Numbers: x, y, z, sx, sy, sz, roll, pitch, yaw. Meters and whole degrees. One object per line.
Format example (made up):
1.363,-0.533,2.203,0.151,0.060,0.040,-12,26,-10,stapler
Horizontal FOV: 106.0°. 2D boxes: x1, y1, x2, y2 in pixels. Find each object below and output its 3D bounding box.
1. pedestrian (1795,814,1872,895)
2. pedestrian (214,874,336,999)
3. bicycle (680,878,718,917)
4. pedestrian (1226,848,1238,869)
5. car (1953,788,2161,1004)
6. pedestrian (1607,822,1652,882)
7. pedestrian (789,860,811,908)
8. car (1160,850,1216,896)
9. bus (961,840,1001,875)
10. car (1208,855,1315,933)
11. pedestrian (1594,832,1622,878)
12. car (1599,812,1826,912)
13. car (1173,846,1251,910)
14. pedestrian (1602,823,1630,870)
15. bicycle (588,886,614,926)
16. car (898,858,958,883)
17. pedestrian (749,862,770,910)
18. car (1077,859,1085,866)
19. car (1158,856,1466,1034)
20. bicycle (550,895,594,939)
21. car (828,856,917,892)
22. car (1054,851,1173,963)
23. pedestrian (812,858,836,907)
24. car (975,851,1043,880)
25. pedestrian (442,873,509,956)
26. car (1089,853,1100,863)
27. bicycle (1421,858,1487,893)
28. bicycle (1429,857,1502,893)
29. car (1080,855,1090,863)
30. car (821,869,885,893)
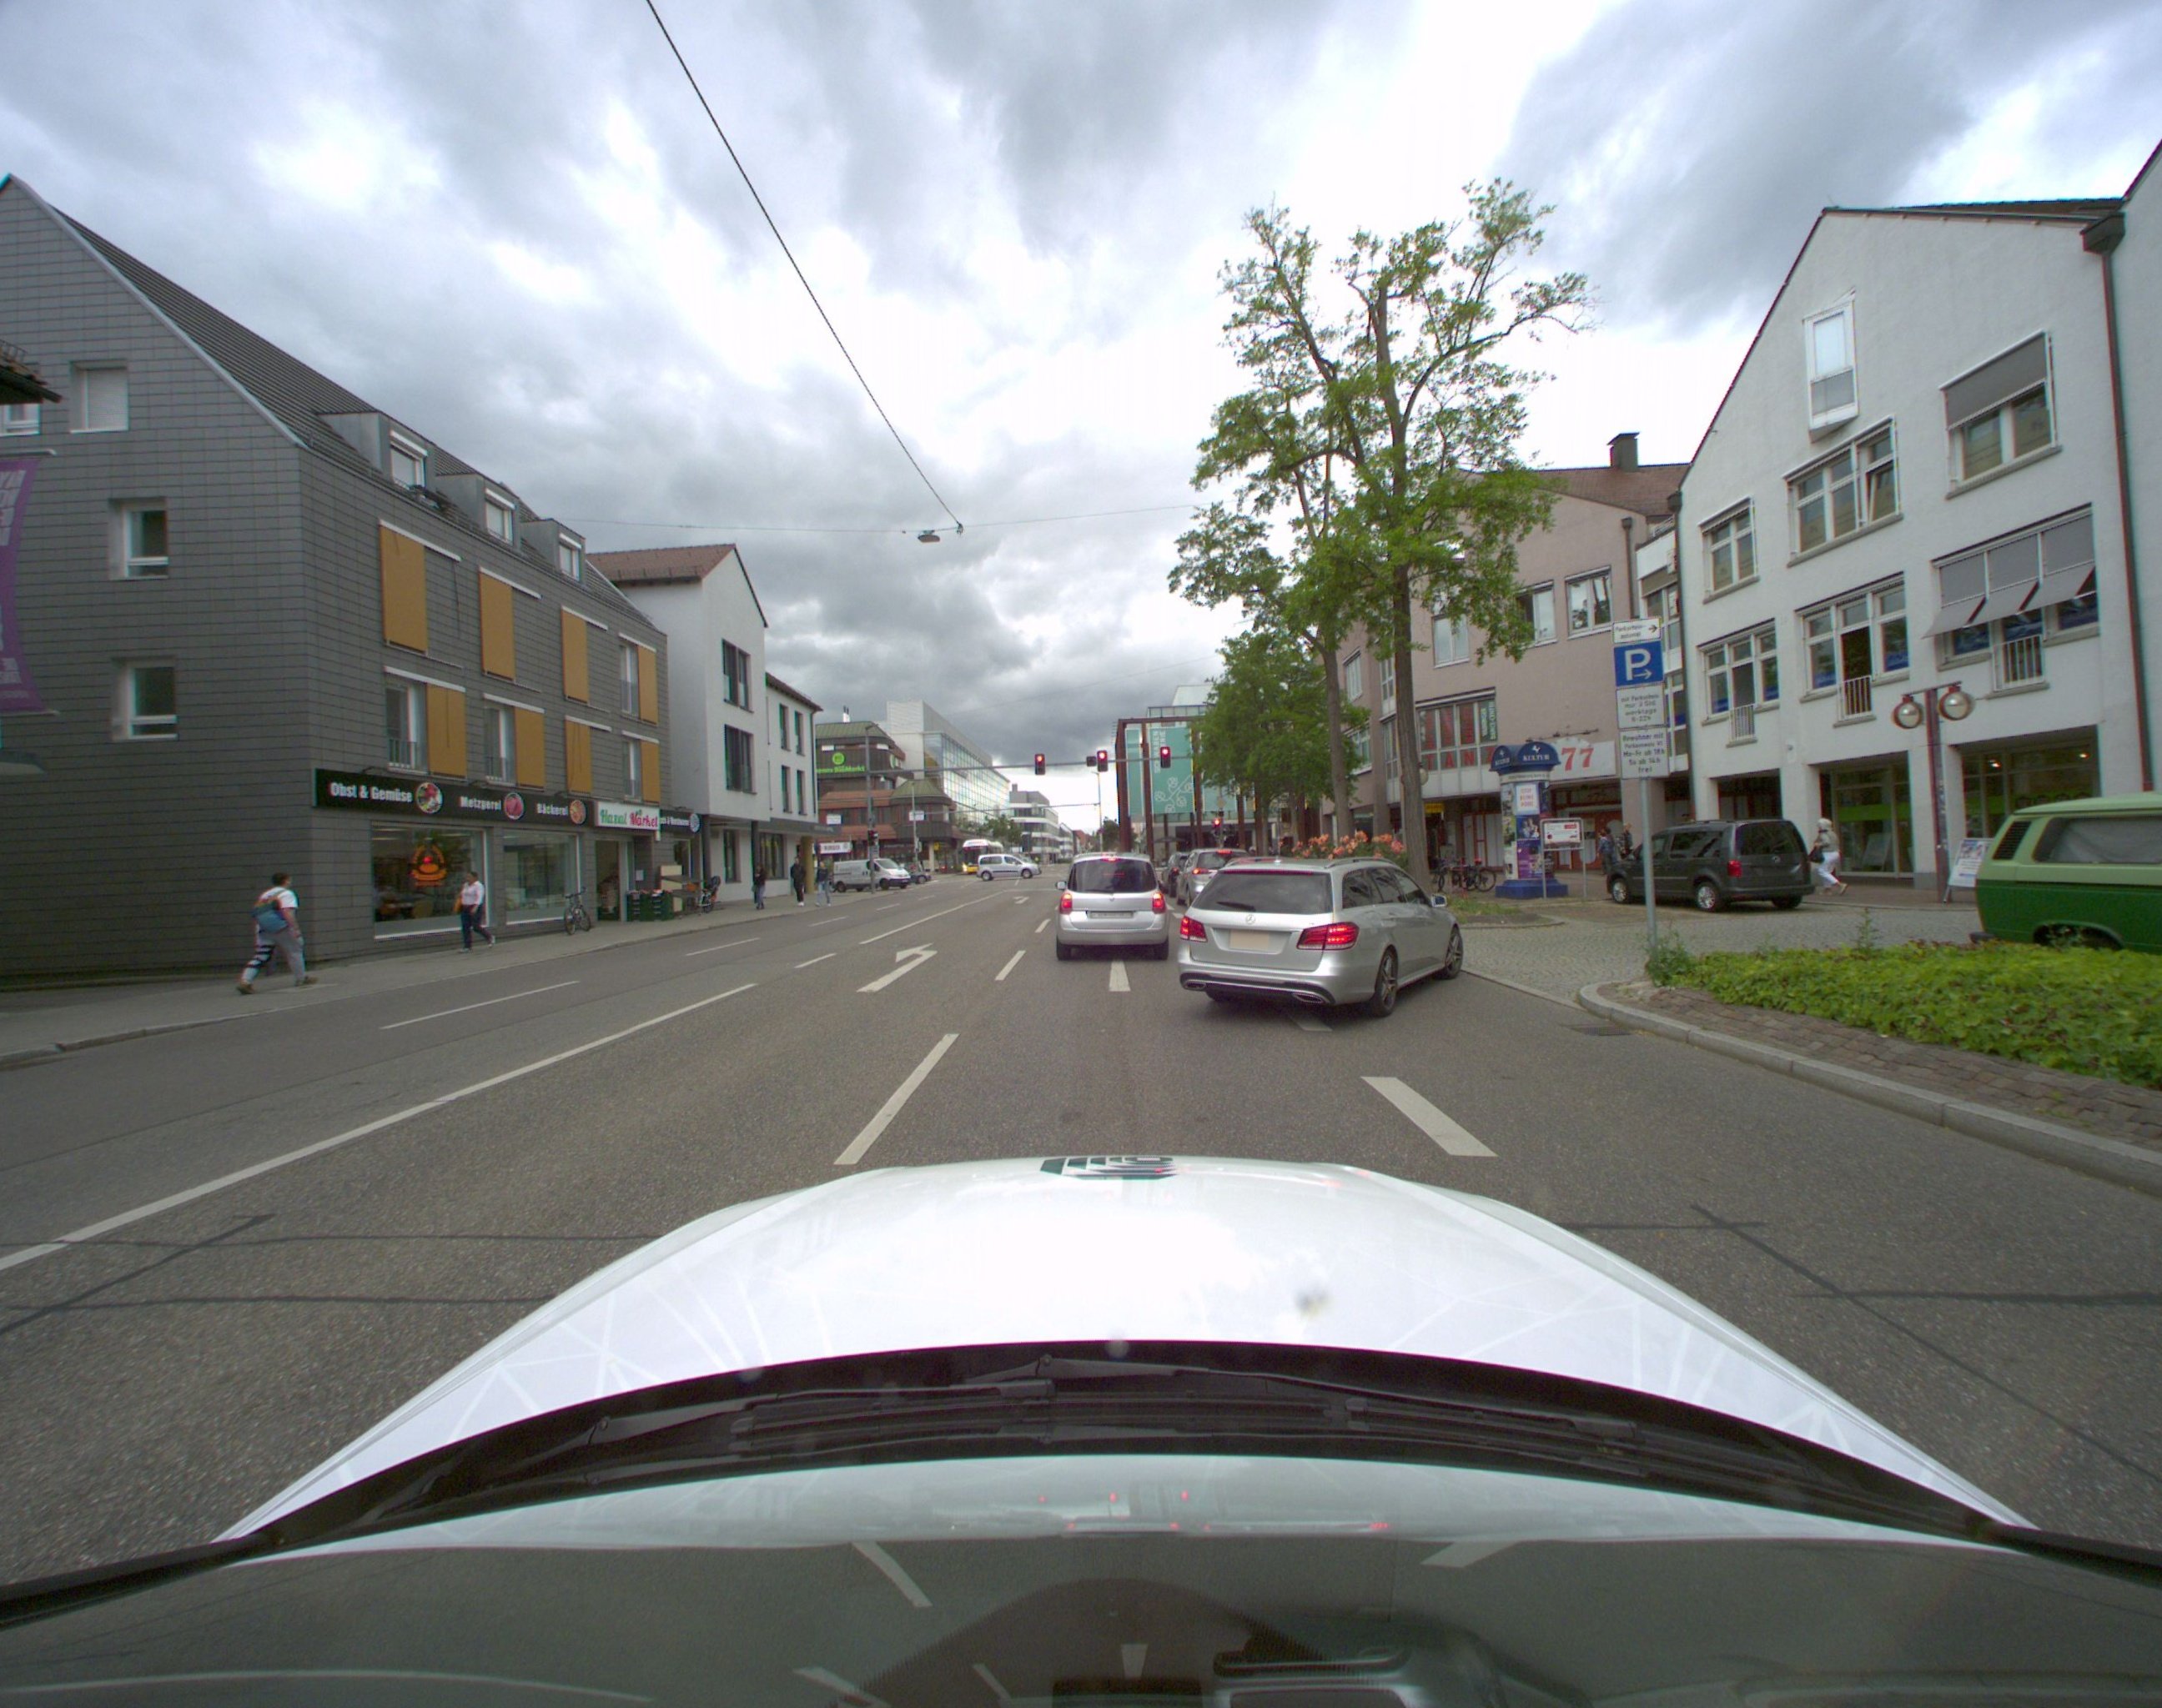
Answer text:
16.168,0.014,17.520,0.786,1.659,0.819,-4,0,1,pedestrian
-11.656,1.160,11.814,0.751,1.705,0.981,1,0,1,pedestrian
-12.544,1.401,26.792,0.385,1.186,1.825,-2,0,-1,bicycle
12.060,0.342,65.028,0.652,1.650,0.557,-2,0,-13,pedestrian
10.264,0.307,6.372,1.874,1.876,4.605,-4,0,0,car
16.987,-0.068,25.224,0.786,1.793,0.819,-2,0,1,pedestrian
-10.679,1.120,30.935,0.567,1.775,0.646,-2,0,-5,pedestrian
3.863,0.658,29.971,1.581,1.595,3.868,0,0,0,car
-9.755,0.323,80.421,2.677,3.261,8.654,-2,0,1,bus
3.632,0.751,16.892,1.580,1.443,3.350,0,0,2,car
17.490,0.039,27.008,0.615,1.515,0.614,-2,-1,-44,pedestrian
13.311,0.147,17.508,1.633,1.831,3.963,-3,0,-2,car
3.582,0.624,22.795,1.581,1.634,3.916,0,0,0,car
18.057,-0.242,27.500,0.668,1.563,0.614,-2,0,-43,pedestrian
-14.393,1.544,24.399,0.390,1.127,1.274,-2,0,-42,bicycle
-11.699,1.248,62.348,1.898,1.677,4.269,-2,0,39,car
-11.459,1.139,29.019,0.654,1.650,0.555,-2,0,-22,pedestrian
0.089,2.242,213.848,1.793,1.540,4.068,-2,0,3,car
2.765,0.749,8.927,1.797,1.448,4.397,-1,0,37,car
-12.437,1.513,19.929,0.325,0.954,1.479,-2,0,-9,bicycle
-12.924,1.257,50.535,5.095,1.888,2.012,-3,0,24,car
0.503,0.740,13.083,1.634,1.527,3.395,-1,0,2,car
-9.634,1.058,30.574,0.681,1.790,0.647,-2,0,-9,pedestrian
-4.864,0.800,55.159,4.369,1.773,1.328,-2,0,2,car
-12.272,1.206,16.522,0.725,1.610,0.753,-2,0,2,pedestrian
2.543,0.749,153.747,1.987,1.949,4.951,-2,0,1,car
11.436,0.644,24.975,1.760,0.997,0.447,-2,0,5,bicycle
11.515,0.622,24.418,1.892,0.997,0.468,-2,0,5,bicycle
0.789,0.991,162.262,1.793,1.540,4.068,-2,0,3,car
-15.523,1.827,55.497,3.815,1.389,1.685,-2,0,2,car
